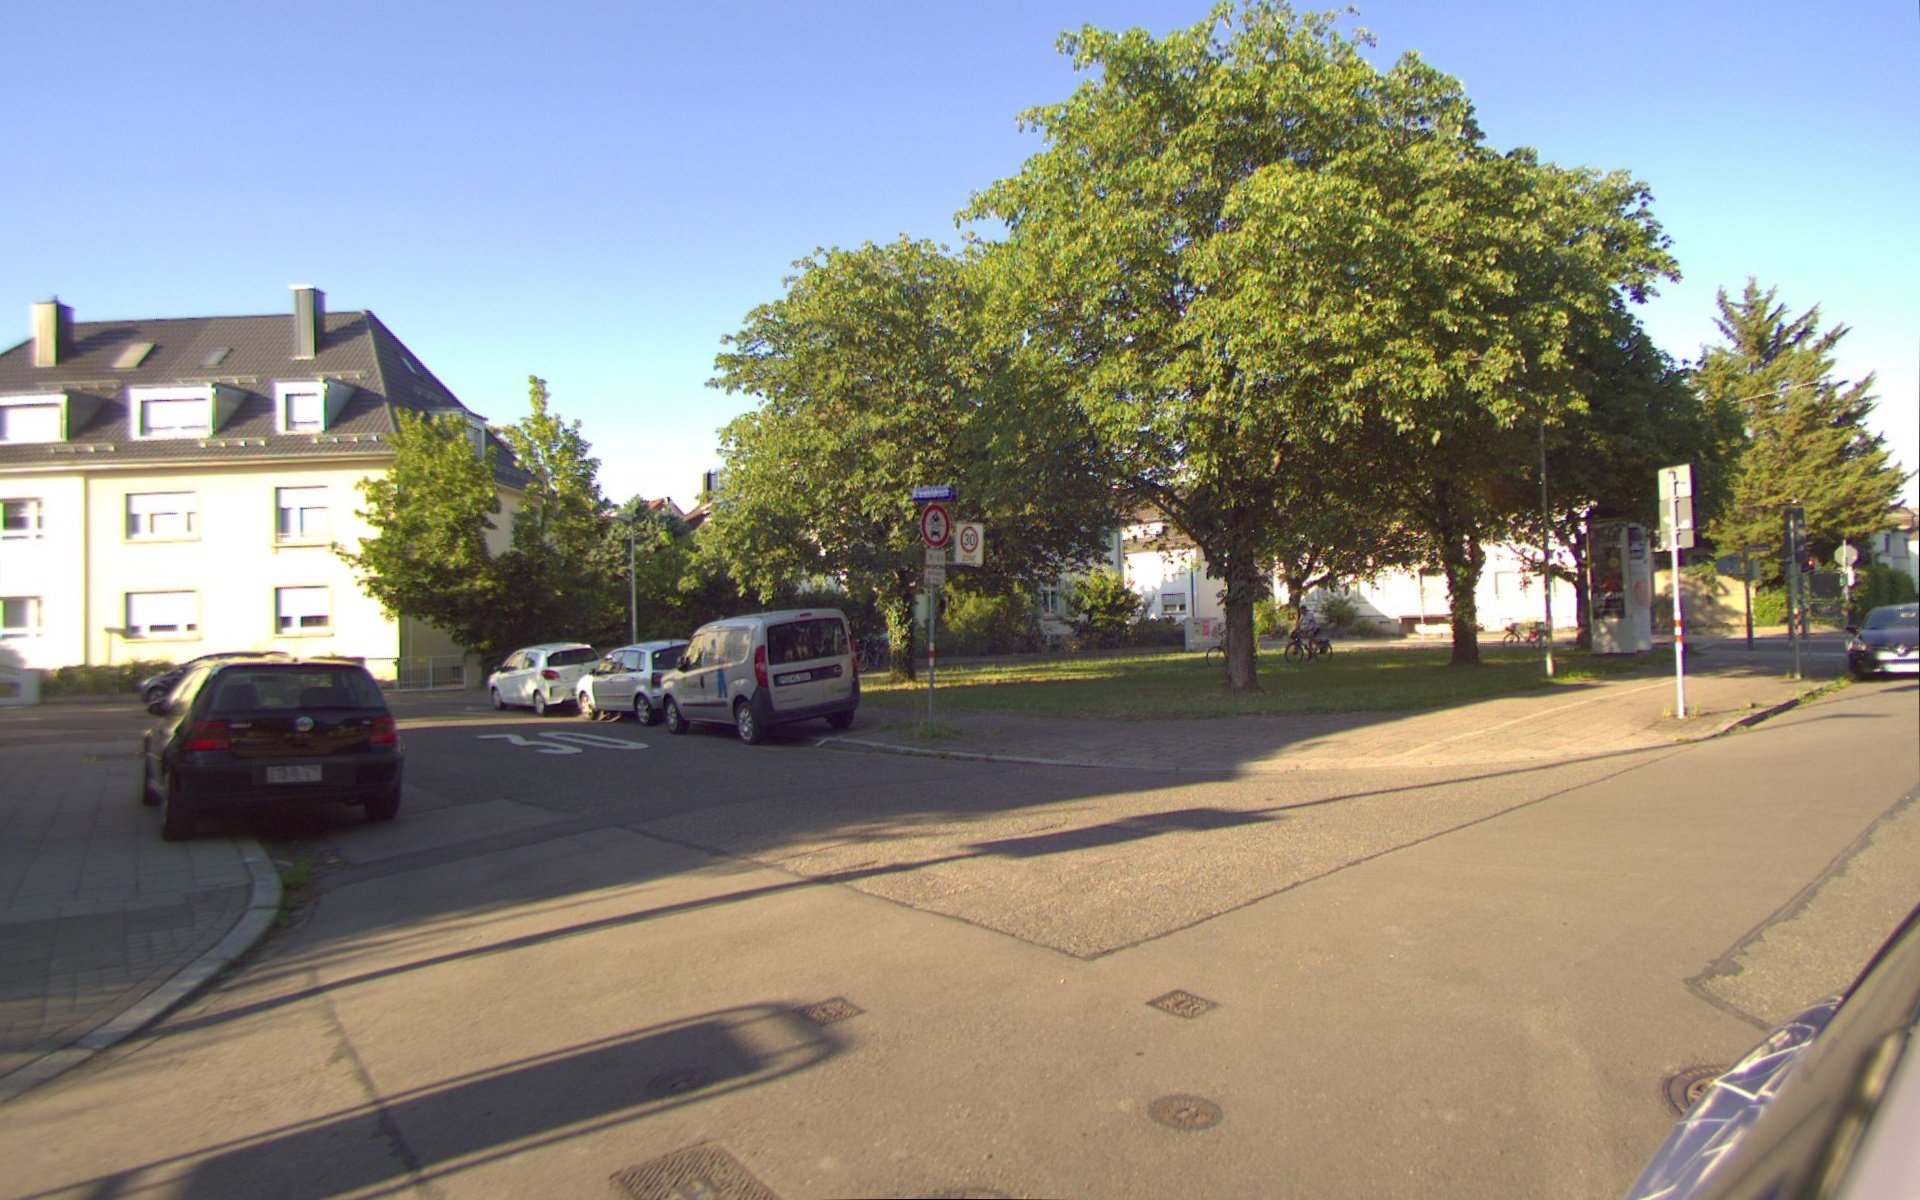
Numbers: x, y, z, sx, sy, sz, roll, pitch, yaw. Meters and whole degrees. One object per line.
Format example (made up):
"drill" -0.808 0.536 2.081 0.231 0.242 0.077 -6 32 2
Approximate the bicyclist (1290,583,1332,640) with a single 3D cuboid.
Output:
"bicyclist" 11.207 0.380 32.343 0.876 1.754 0.817 -4 -3 -4

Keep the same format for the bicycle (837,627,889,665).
"bicycle" -3.404 1.622 35.709 1.921 1.254 0.449 -1 -2 -42

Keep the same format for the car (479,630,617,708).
"car" -9.469 1.589 23.103 1.499 1.543 3.922 -3 -2 -44

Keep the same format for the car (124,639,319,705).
"car" -20.122 1.934 27.690 3.925 1.572 1.999 -2 -2 1

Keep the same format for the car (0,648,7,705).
"car" -29.208 2.230 27.851 4.029 1.590 2.000 -2 -2 -2

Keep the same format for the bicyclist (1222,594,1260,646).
"bicyclist" 8.895 0.627 32.043 0.876 1.582 0.715 -2 0 -8

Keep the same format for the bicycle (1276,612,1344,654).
"bicycle" 11.174 1.060 32.314 1.868 1.199 0.574 -4 -3 -4

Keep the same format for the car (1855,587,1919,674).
"car" 19.570 0.530 20.449 4.465 1.530 1.726 -2 -3 -43

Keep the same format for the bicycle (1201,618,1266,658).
"bicycle" 8.643 1.192 32.003 1.924 1.199 0.493 -1 0 -6

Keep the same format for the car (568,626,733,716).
"car" -6.111 1.358 19.777 1.580 1.535 3.553 -1 -2 -45

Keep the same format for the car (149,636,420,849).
"car" -6.486 1.165 9.518 1.686 1.465 3.993 -2 -2 -40

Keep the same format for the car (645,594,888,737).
"car" -3.213 1.006 16.095 1.994 1.899 4.249 -2 -2 -38
